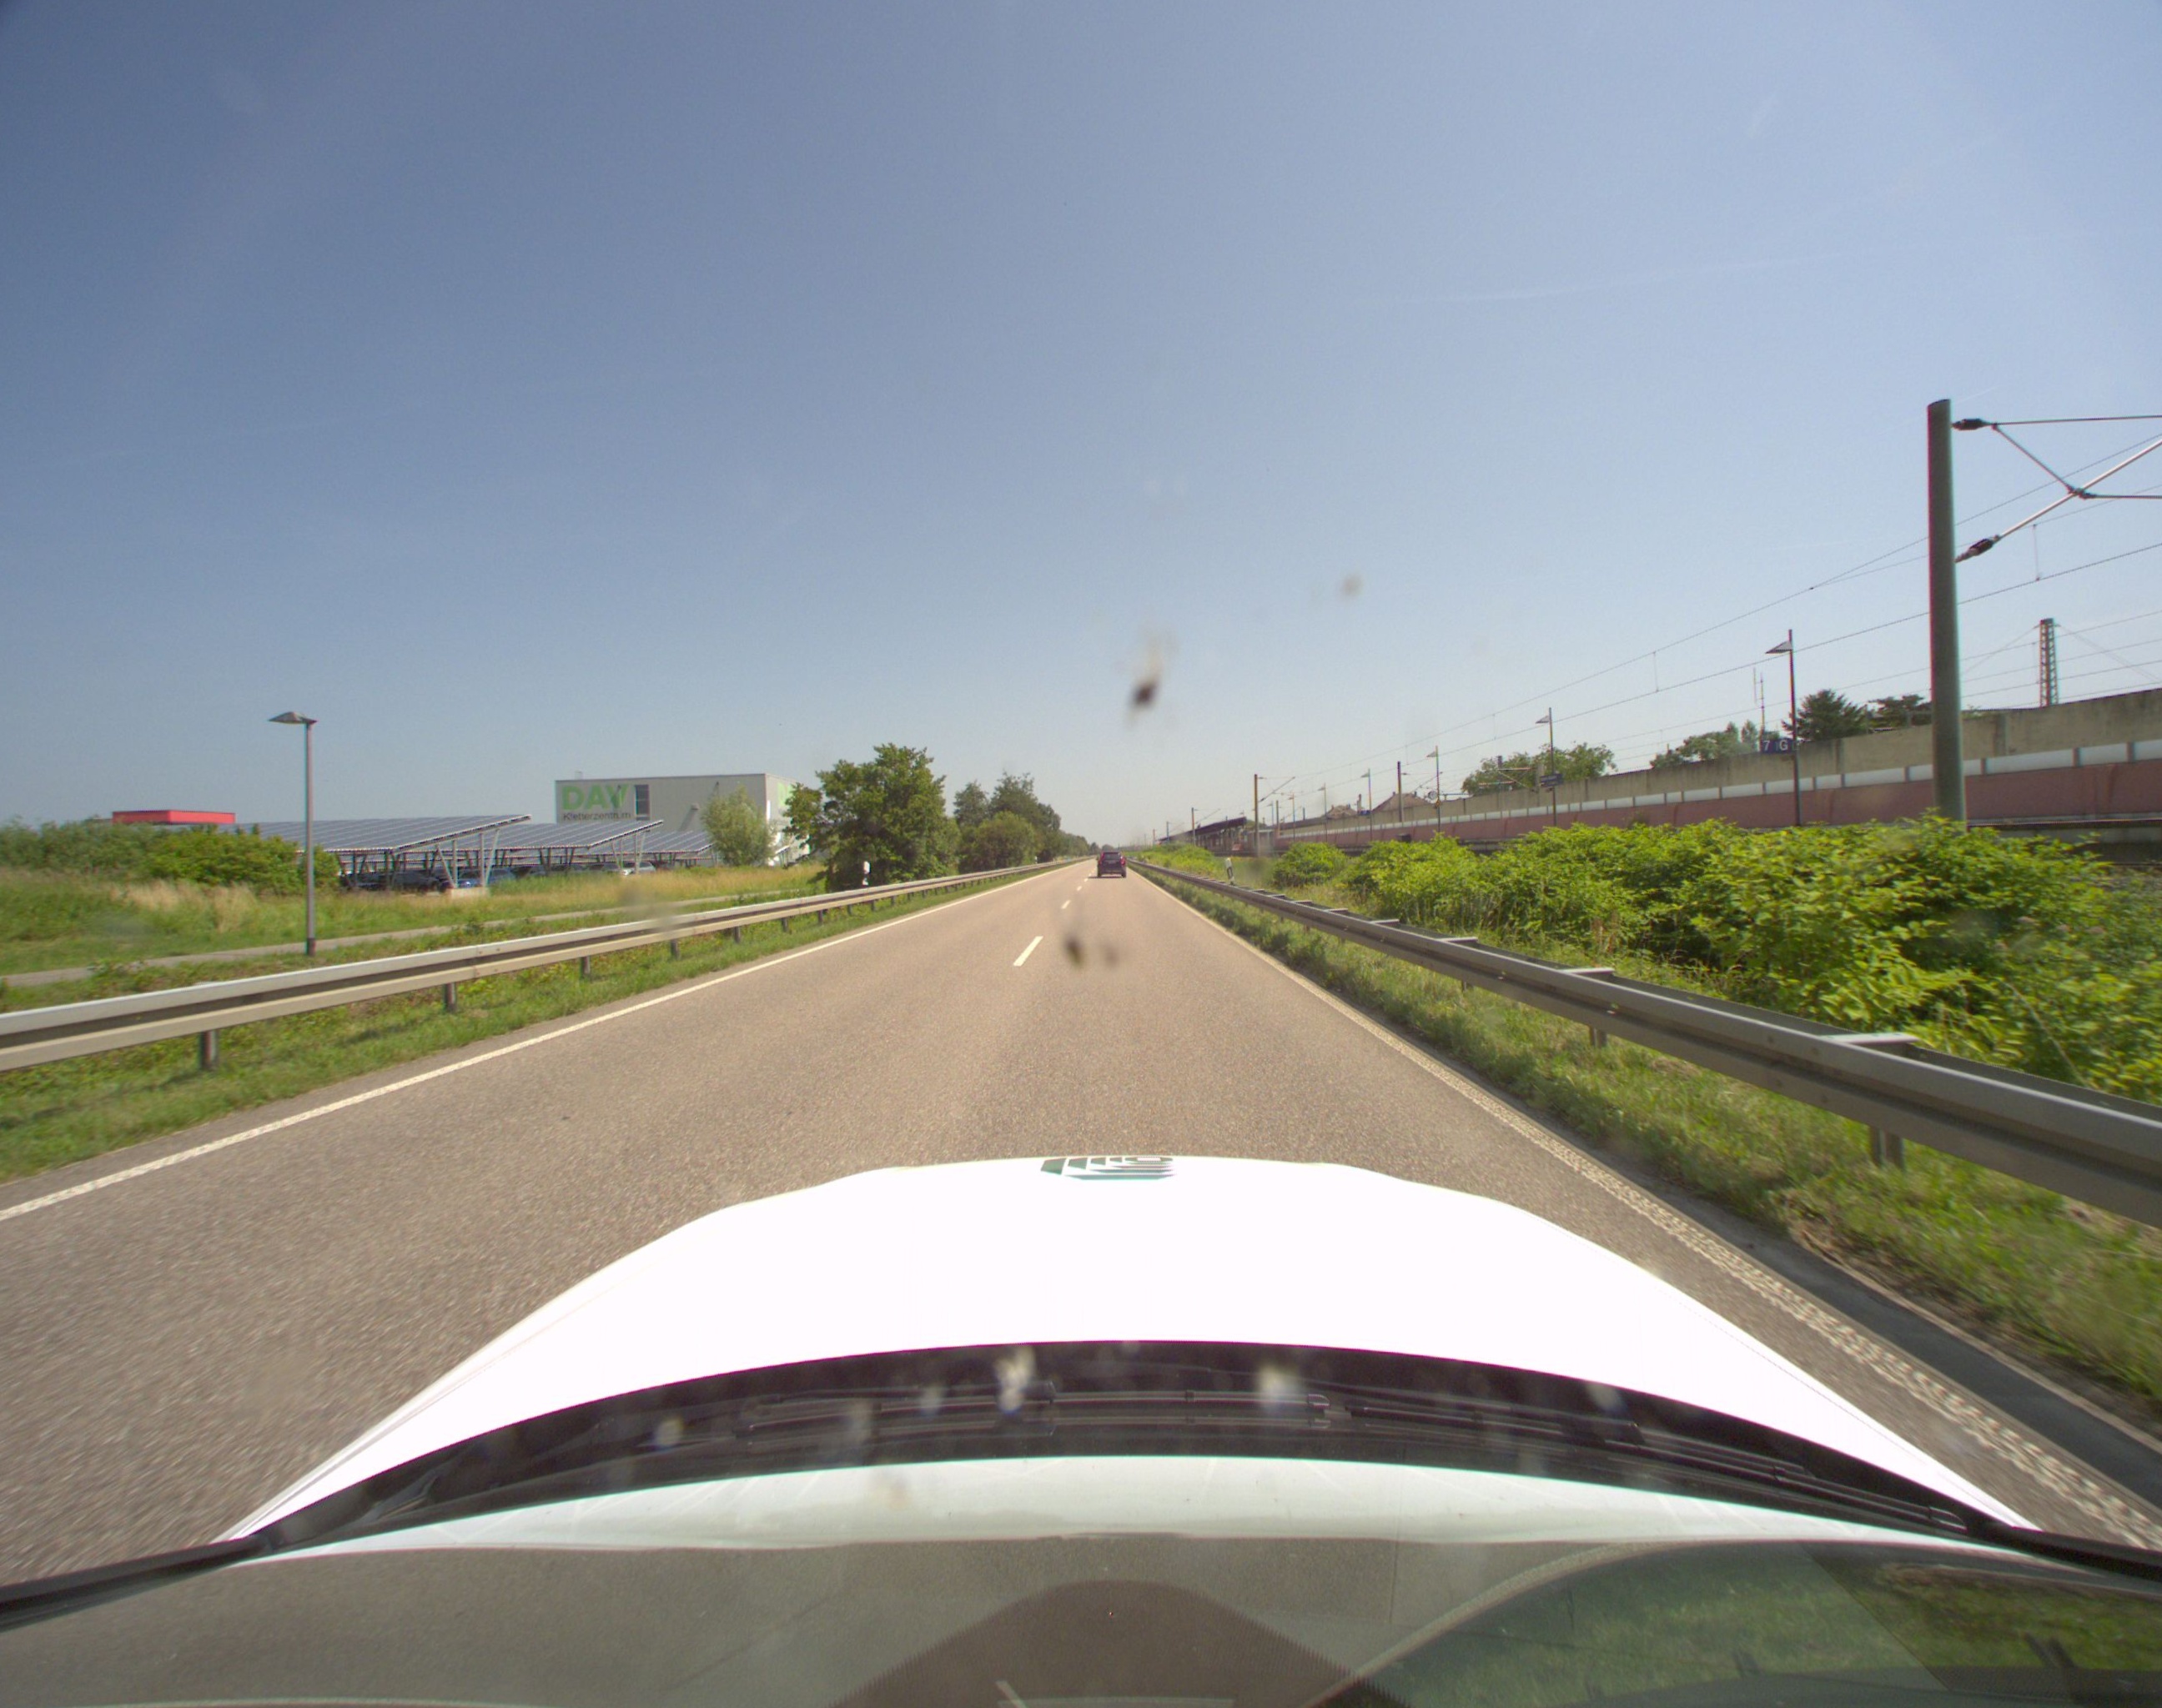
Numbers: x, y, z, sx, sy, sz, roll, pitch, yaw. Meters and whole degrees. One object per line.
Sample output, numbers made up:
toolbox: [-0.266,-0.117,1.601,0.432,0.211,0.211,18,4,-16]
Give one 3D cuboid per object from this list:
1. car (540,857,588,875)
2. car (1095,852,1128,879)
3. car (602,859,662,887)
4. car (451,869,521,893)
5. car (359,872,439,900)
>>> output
car: [-39.807,0.916,62.774,1.614,1.291,3.362,-1,0,-1]
car: [1.981,0.723,53.688,1.987,1.700,3.999,-1,0,-1]
car: [-34.853,1.467,63.388,1.986,2.013,4.519,-2,0,2]
car: [-34.721,1.563,47.628,1.614,1.291,3.362,-1,0,-1]
car: [-48.141,2.253,57.584,1.986,1.804,4.264,-1,0,2]
